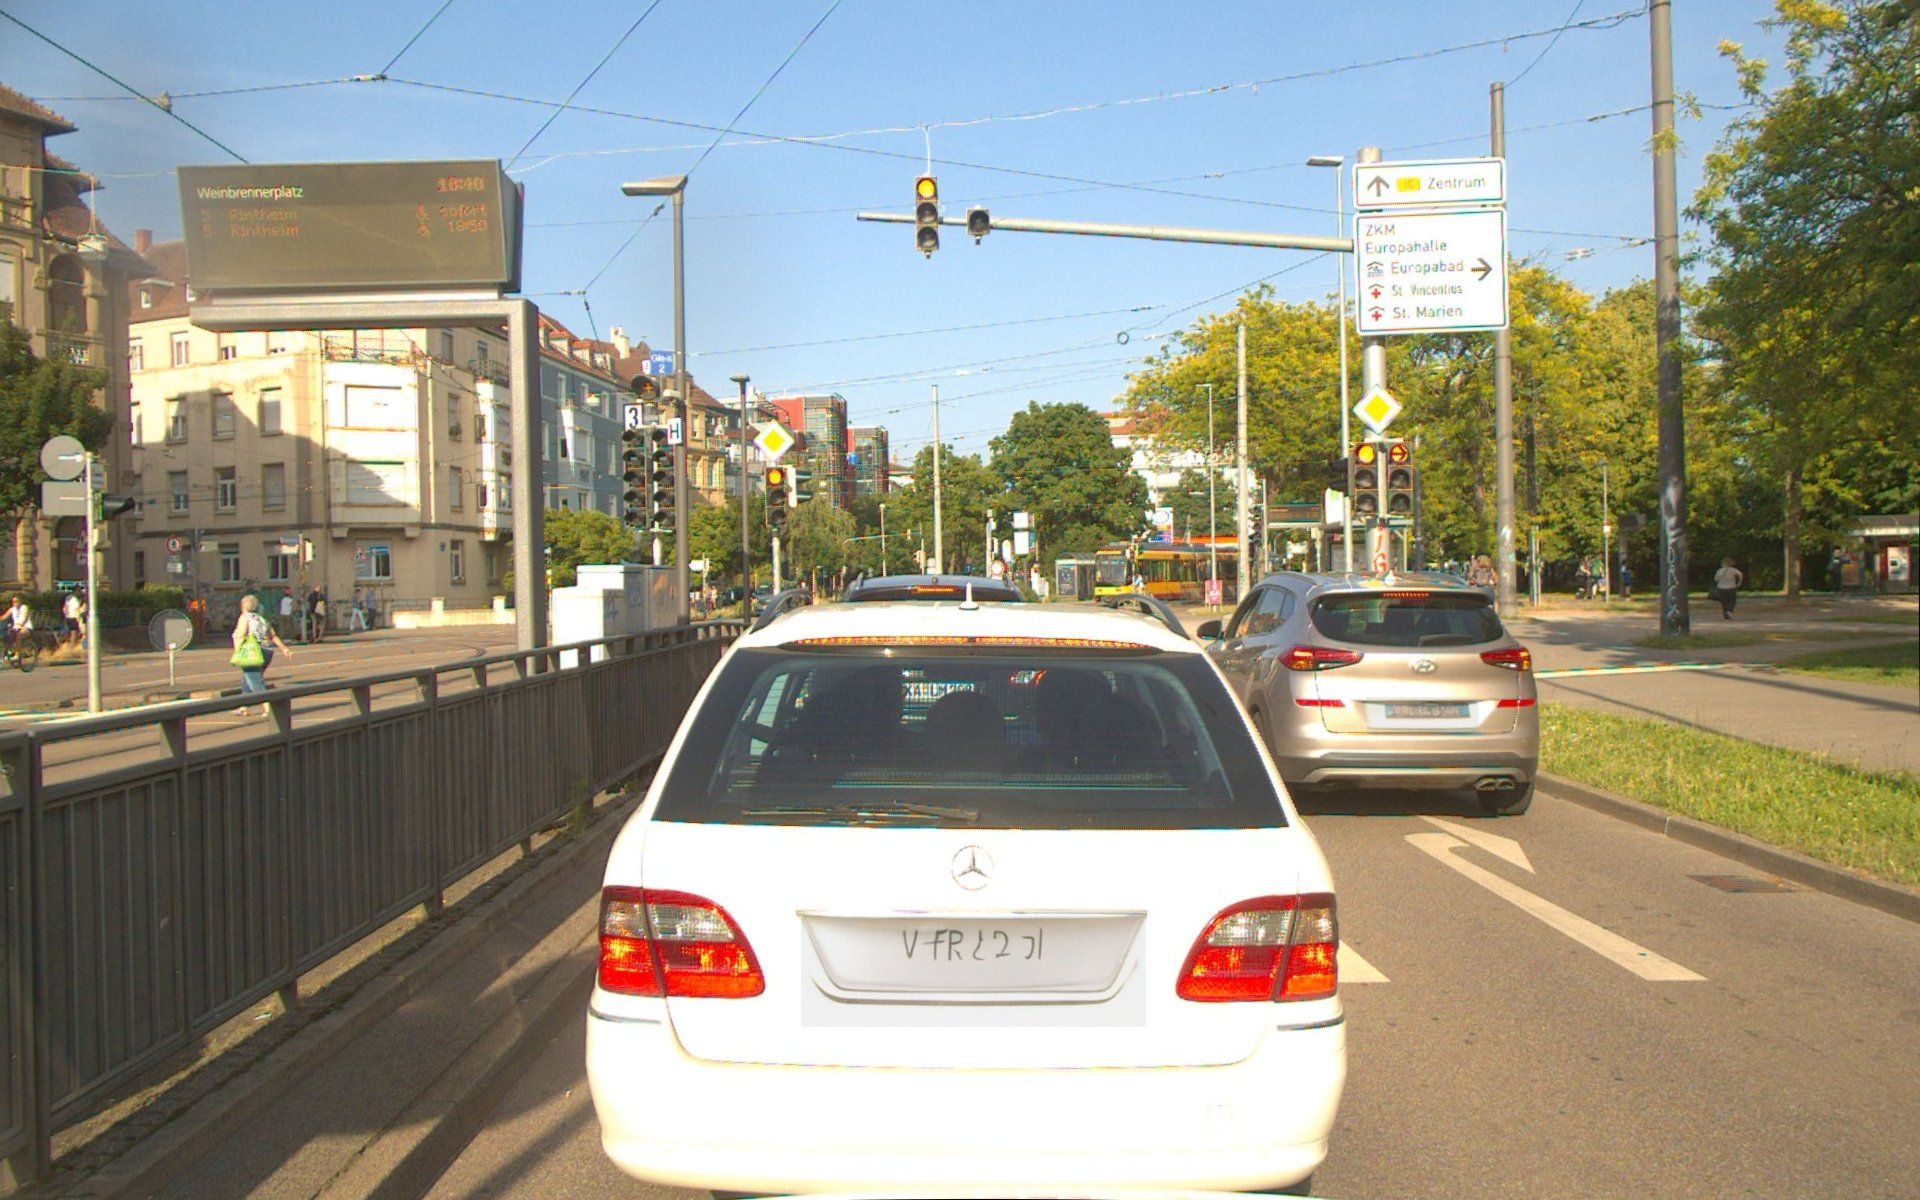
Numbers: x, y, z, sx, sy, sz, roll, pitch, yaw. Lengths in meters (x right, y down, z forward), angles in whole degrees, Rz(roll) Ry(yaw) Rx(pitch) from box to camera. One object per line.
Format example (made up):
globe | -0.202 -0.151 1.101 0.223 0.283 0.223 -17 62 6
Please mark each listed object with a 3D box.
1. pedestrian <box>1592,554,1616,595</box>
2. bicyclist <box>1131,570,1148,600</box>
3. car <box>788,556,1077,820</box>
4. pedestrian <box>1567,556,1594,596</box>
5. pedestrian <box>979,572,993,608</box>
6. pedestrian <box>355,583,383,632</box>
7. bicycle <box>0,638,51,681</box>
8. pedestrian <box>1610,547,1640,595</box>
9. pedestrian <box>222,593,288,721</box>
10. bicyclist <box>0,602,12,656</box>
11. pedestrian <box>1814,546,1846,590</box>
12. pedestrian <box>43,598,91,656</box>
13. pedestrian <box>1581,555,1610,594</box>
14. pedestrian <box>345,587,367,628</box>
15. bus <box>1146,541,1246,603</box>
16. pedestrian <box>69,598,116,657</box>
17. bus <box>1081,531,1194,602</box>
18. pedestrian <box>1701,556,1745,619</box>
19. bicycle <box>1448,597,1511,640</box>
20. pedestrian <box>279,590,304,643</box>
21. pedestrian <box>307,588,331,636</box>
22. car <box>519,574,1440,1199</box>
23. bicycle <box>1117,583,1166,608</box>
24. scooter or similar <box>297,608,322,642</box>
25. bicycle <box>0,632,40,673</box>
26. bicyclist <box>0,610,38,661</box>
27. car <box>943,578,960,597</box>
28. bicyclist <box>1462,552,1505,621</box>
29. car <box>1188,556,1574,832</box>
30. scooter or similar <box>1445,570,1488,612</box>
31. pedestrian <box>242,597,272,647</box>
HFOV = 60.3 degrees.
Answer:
pedestrian | 24.608 -0.968 63.234 0.797 1.513 0.700 -1 0 24
bicyclist | 9.260 -0.769 85.295 0.842 1.507 0.790 -1 0 8
car | -0.195 0.554 12.519 1.846 1.680 3.647 1 0 -1
pedestrian | 24.061 -0.922 64.129 0.809 1.513 0.690 -2 0 -42
pedestrian | 1.369 -0.530 87.356 0.628 1.889 0.552 -1 0 11
pedestrian | -24.975 0.327 69.900 0.758 2.049 0.787 -1 0 14
bicycle | -20.196 1.268 35.358 0.515 0.849 1.687 -1 0 2
pedestrian | 25.887 -1.118 64.409 0.784 1.816 0.838 -1 0 -5
pedestrian | -9.166 0.725 21.522 0.601 1.627 0.632 -1 0 -7
bicyclist | -23.017 0.697 38.818 0.747 1.284 1.175 -1 0 7
pedestrian | 33.570 -1.221 63.832 0.818 1.665 0.803 -1 0 5
pedestrian | -24.755 0.746 45.859 0.812 1.579 0.782 -1 0 21
pedestrian | 24.868 -0.988 64.749 0.799 1.513 0.699 -1 0 -12
pedestrian | -25.219 0.312 69.028 0.606 1.689 0.586 -1 0 14
bus | 15.331 -1.700 106.315 3.046 3.669 12.584 1 0 24
pedestrian | -23.841 0.745 45.474 0.812 1.579 0.782 -1 0 21
bus | 10.364 -1.801 94.814 3.045 3.669 12.371 1 0 23
pedestrian | 20.418 -0.334 44.254 0.748 1.665 0.797 -2 0 -40
bicycle | 10.061 0.340 32.098 0.485 0.770 2.168 -2 0 -1
pedestrian | -21.443 0.530 53.051 0.497 1.654 0.609 -1 0 5
pedestrian | -20.620 0.390 53.213 0.428 1.527 0.549 -1 0 14
car | 0.010 0.689 4.989 1.759 1.496 3.647 0 0 -1
bicycle | 9.363 -0.239 85.267 2.430 1.234 0.807 -1 0 7
scooter or similar | -21.130 0.806 53.719 0.532 1.098 0.683 1 0 -1
bicycle | -22.997 1.272 38.875 0.768 0.930 3.000 -1 0 7
bicyclist | -20.199 0.756 35.421 0.502 1.062 0.680 -1 0 2
car | -0.971 -1.423 186.292 1.953 2.049 3.999 1 0 -1
bicyclist | 10.089 -0.258 31.886 0.523 1.284 0.869 -1 0 -1
car | 2.897 0.574 12.206 1.846 1.680 3.647 -2 0 -1
scooter or similar | 14.001 -0.238 45.735 0.413 1.136 1.322 -1 0 -20
pedestrian | -22.542 0.700 53.040 0.616 1.568 0.711 -1 0 -1
